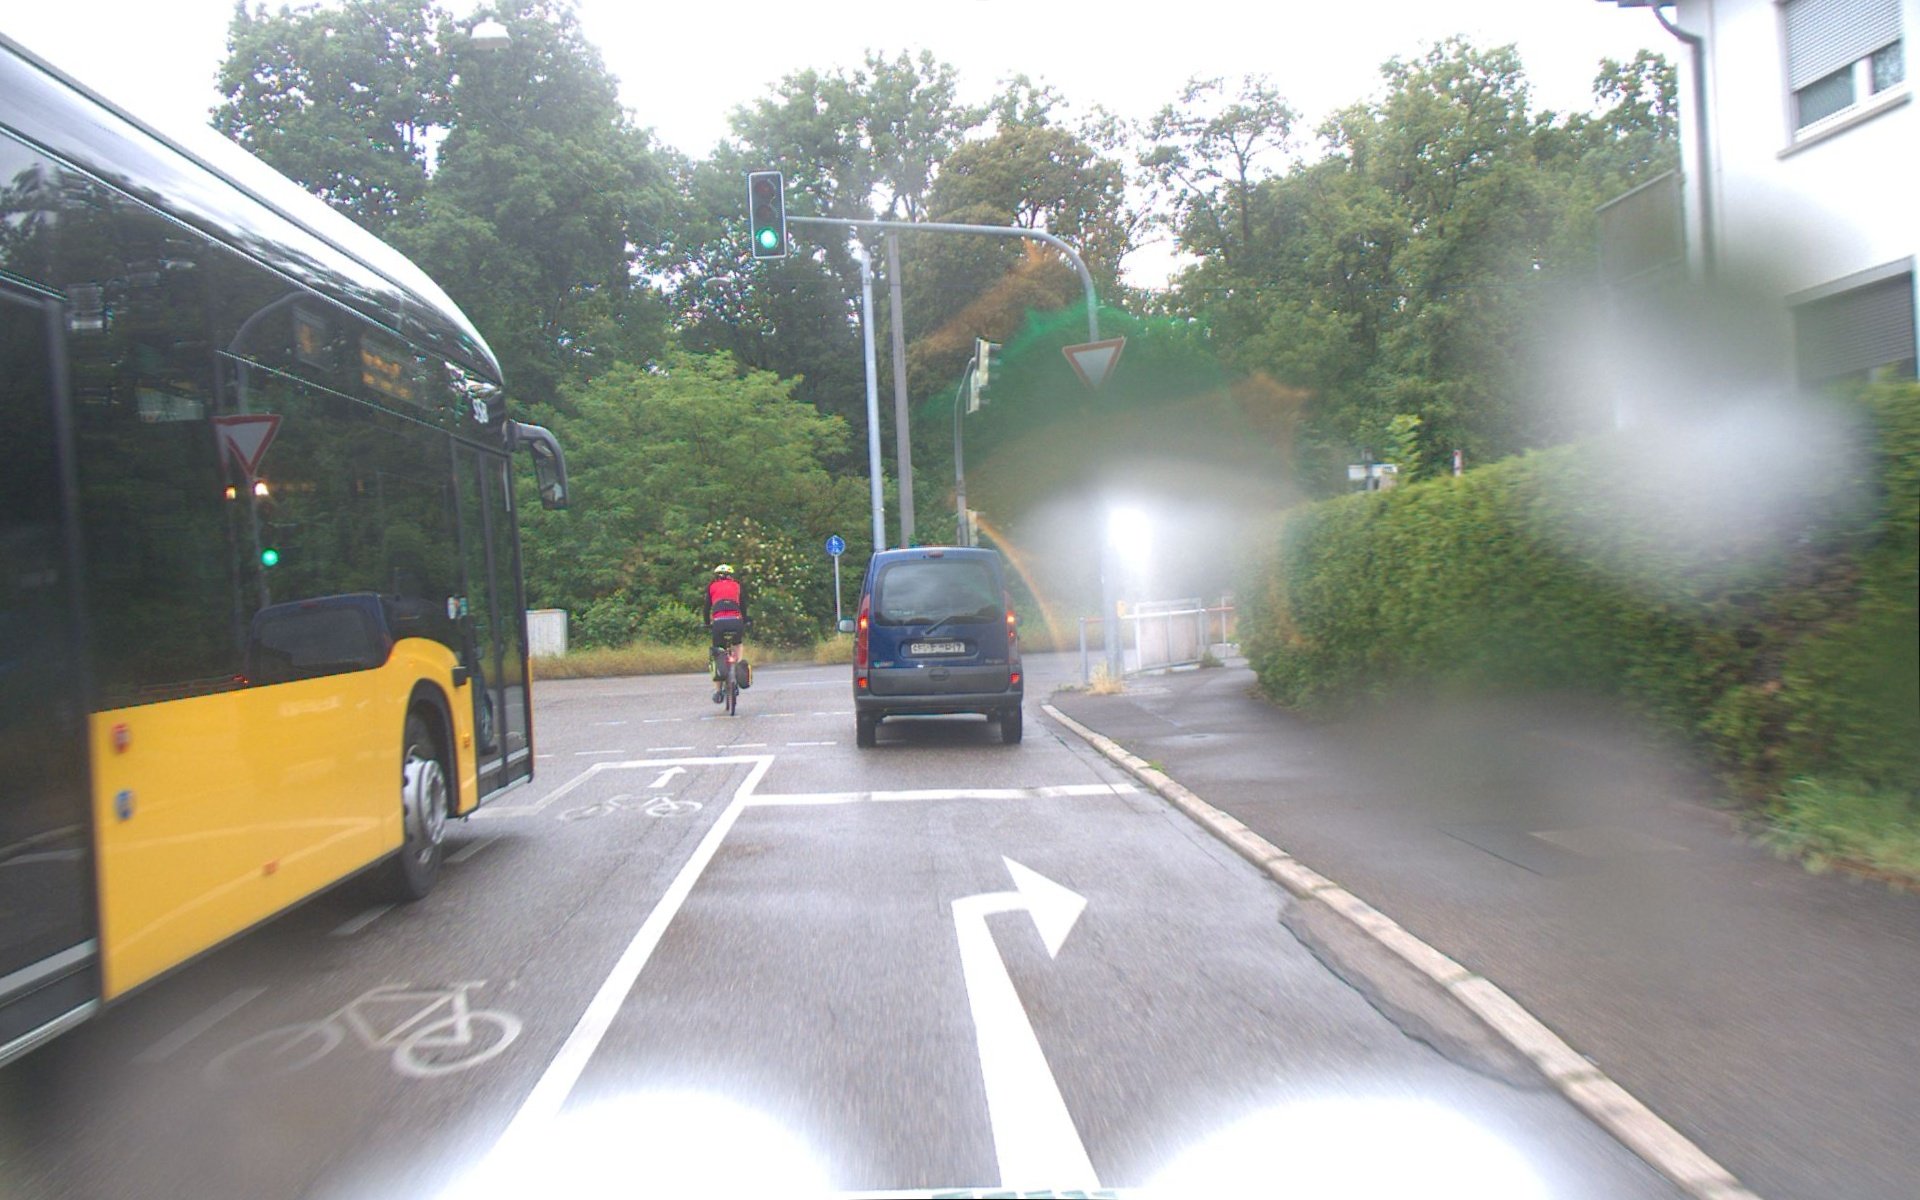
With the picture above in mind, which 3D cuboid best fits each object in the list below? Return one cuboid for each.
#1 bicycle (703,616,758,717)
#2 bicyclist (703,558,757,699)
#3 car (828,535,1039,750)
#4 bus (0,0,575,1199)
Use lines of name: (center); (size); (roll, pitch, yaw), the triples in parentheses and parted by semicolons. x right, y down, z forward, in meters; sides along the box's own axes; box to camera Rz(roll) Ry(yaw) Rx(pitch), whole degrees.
bicycle: (-2.823, 0.790, 20.494); (0.567, 1.115, 2.151); (-2, 1, -6)
bicyclist: (-2.840, 0.341, 20.454); (0.567, 1.681, 1.047); (-2, 1, -6)
car: (-0.388, 0.393, 16.880); (1.774, 1.828, 3.995); (-3, 0, -5)
bus: (-3.915, -0.195, 6.540); (2.842, 3.457, 9.036); (-4, 1, -3)
